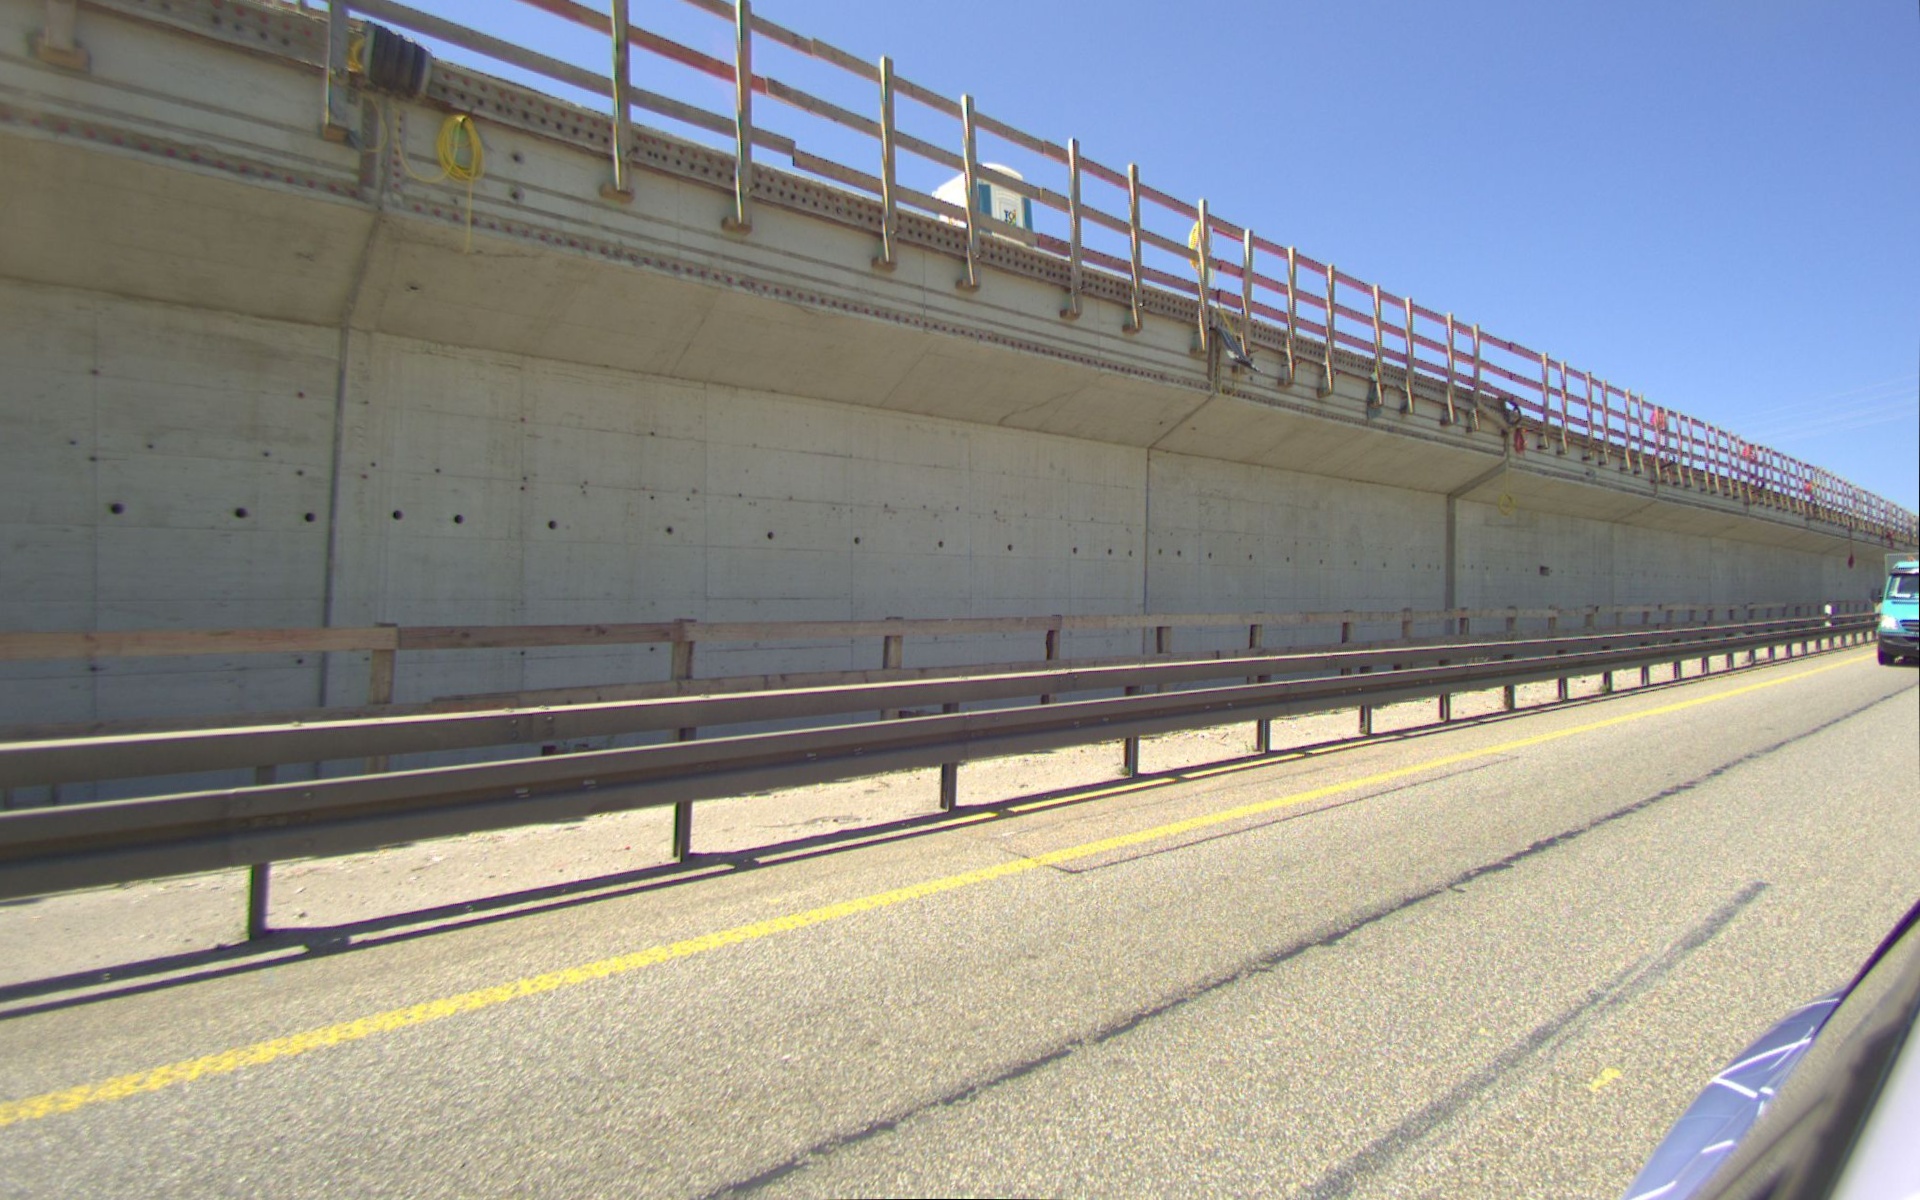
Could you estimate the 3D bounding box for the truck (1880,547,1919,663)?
[{"bbox_3d":[22.892,0.043,22.912,7.303,2.387,2.138,-1,1,-40],"label":"truck"}]
